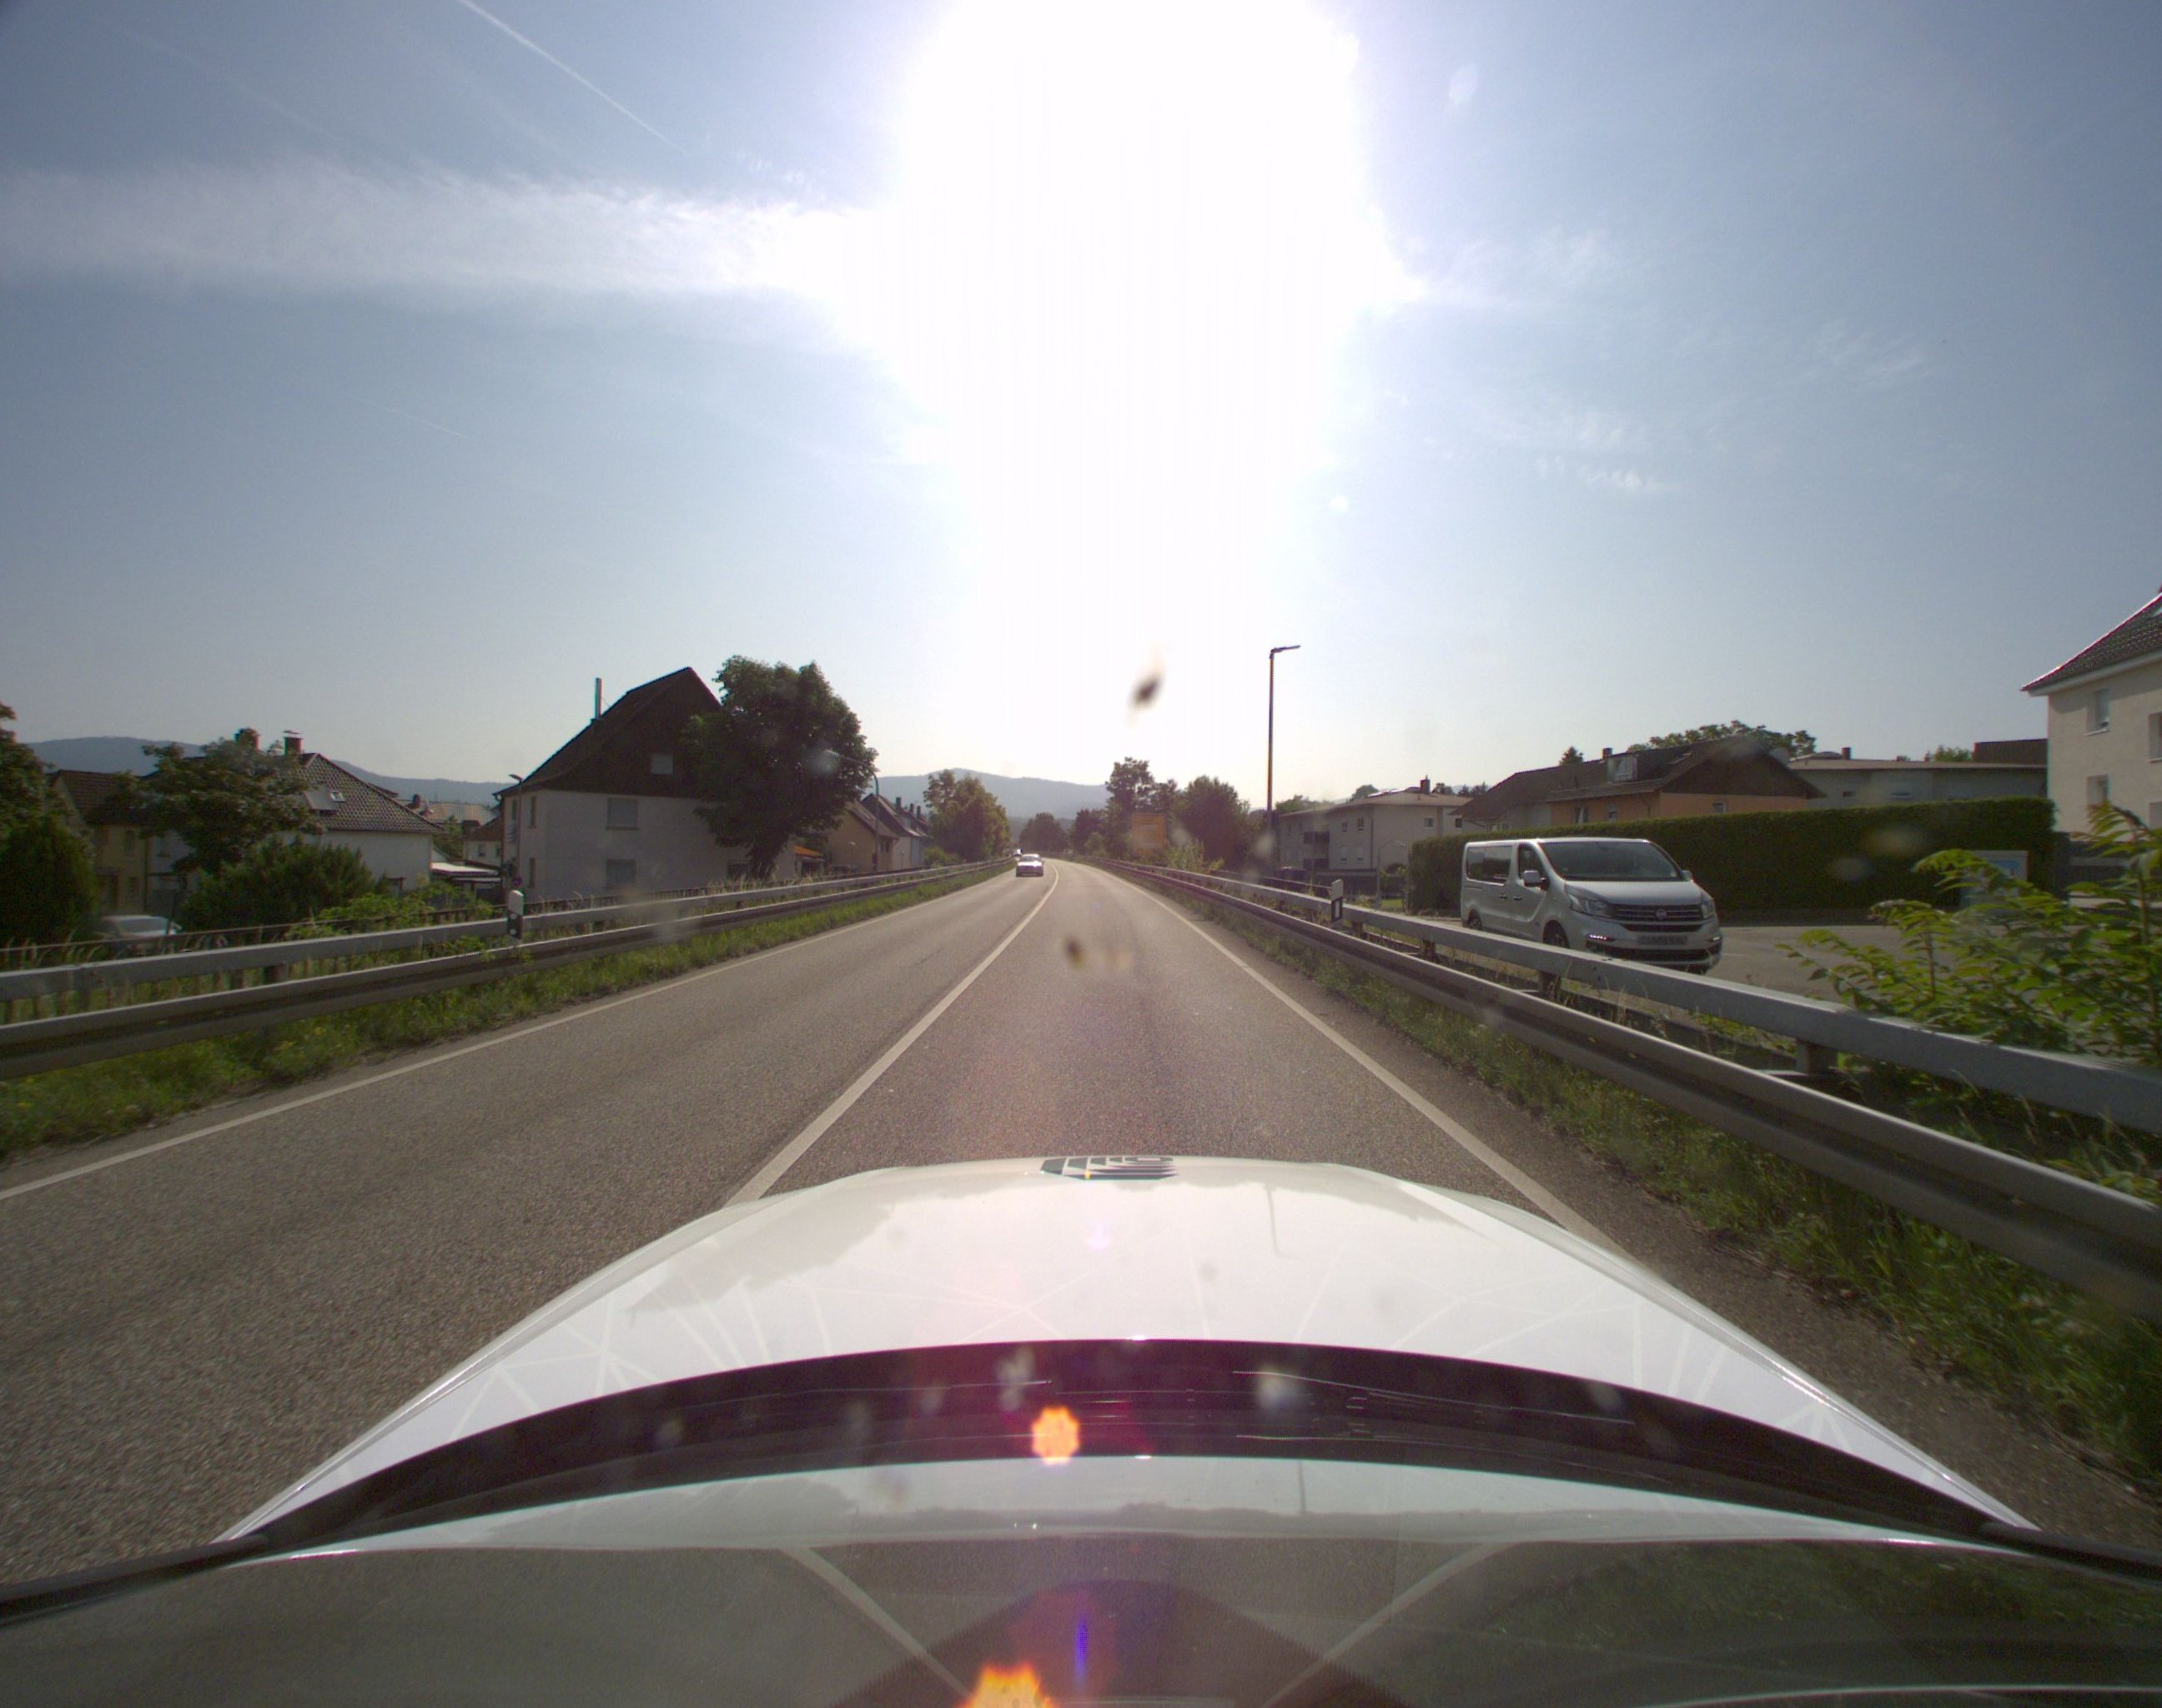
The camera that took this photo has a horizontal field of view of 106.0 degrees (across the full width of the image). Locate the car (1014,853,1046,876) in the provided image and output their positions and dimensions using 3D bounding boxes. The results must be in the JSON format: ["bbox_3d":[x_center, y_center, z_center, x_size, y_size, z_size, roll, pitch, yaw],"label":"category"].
[{"bbox_3d":[-3.274,0.643,53.204,1.752,1.410,3.989,-2,0,0],"label":"car"}]

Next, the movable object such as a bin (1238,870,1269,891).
[{"bbox_3d":[17.575,2.703,83.013,2.777,2.013,1.586,2,0,-2],"label":"movable object such as a bin"}]

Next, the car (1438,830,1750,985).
[{"bbox_3d":[7.632,0.657,12.949,1.984,1.945,5.369,0,0,5],"label":"car"}]

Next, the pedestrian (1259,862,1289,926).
[{"bbox_3d":[6.233,1.289,26.404,0.784,2.013,0.998,0,0,3],"label":"pedestrian"}]

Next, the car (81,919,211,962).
[{"bbox_3d":[-36.789,3.398,32.080,3.805,1.439,1.762,-2,1,14],"label":"car"}]

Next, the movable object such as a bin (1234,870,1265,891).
[{"bbox_3d":[18.030,2.819,87.088,2.907,2.013,1.711,2,0,-2],"label":"movable object such as a bin"}]

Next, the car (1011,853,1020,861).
[{"bbox_3d":[-13.628,0.624,170.789,1.804,1.561,3.987,-2,0,-4],"label":"car"}]

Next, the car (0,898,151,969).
[{"bbox_3d":[-29.691,2.229,23.568,4.128,1.634,1.869,3,-2,14],"label":"car"}]

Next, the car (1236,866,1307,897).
[{"bbox_3d":[17.590,2.557,75.307,6.057,2.688,2.310,1,-4,-2],"label":"car"}]
